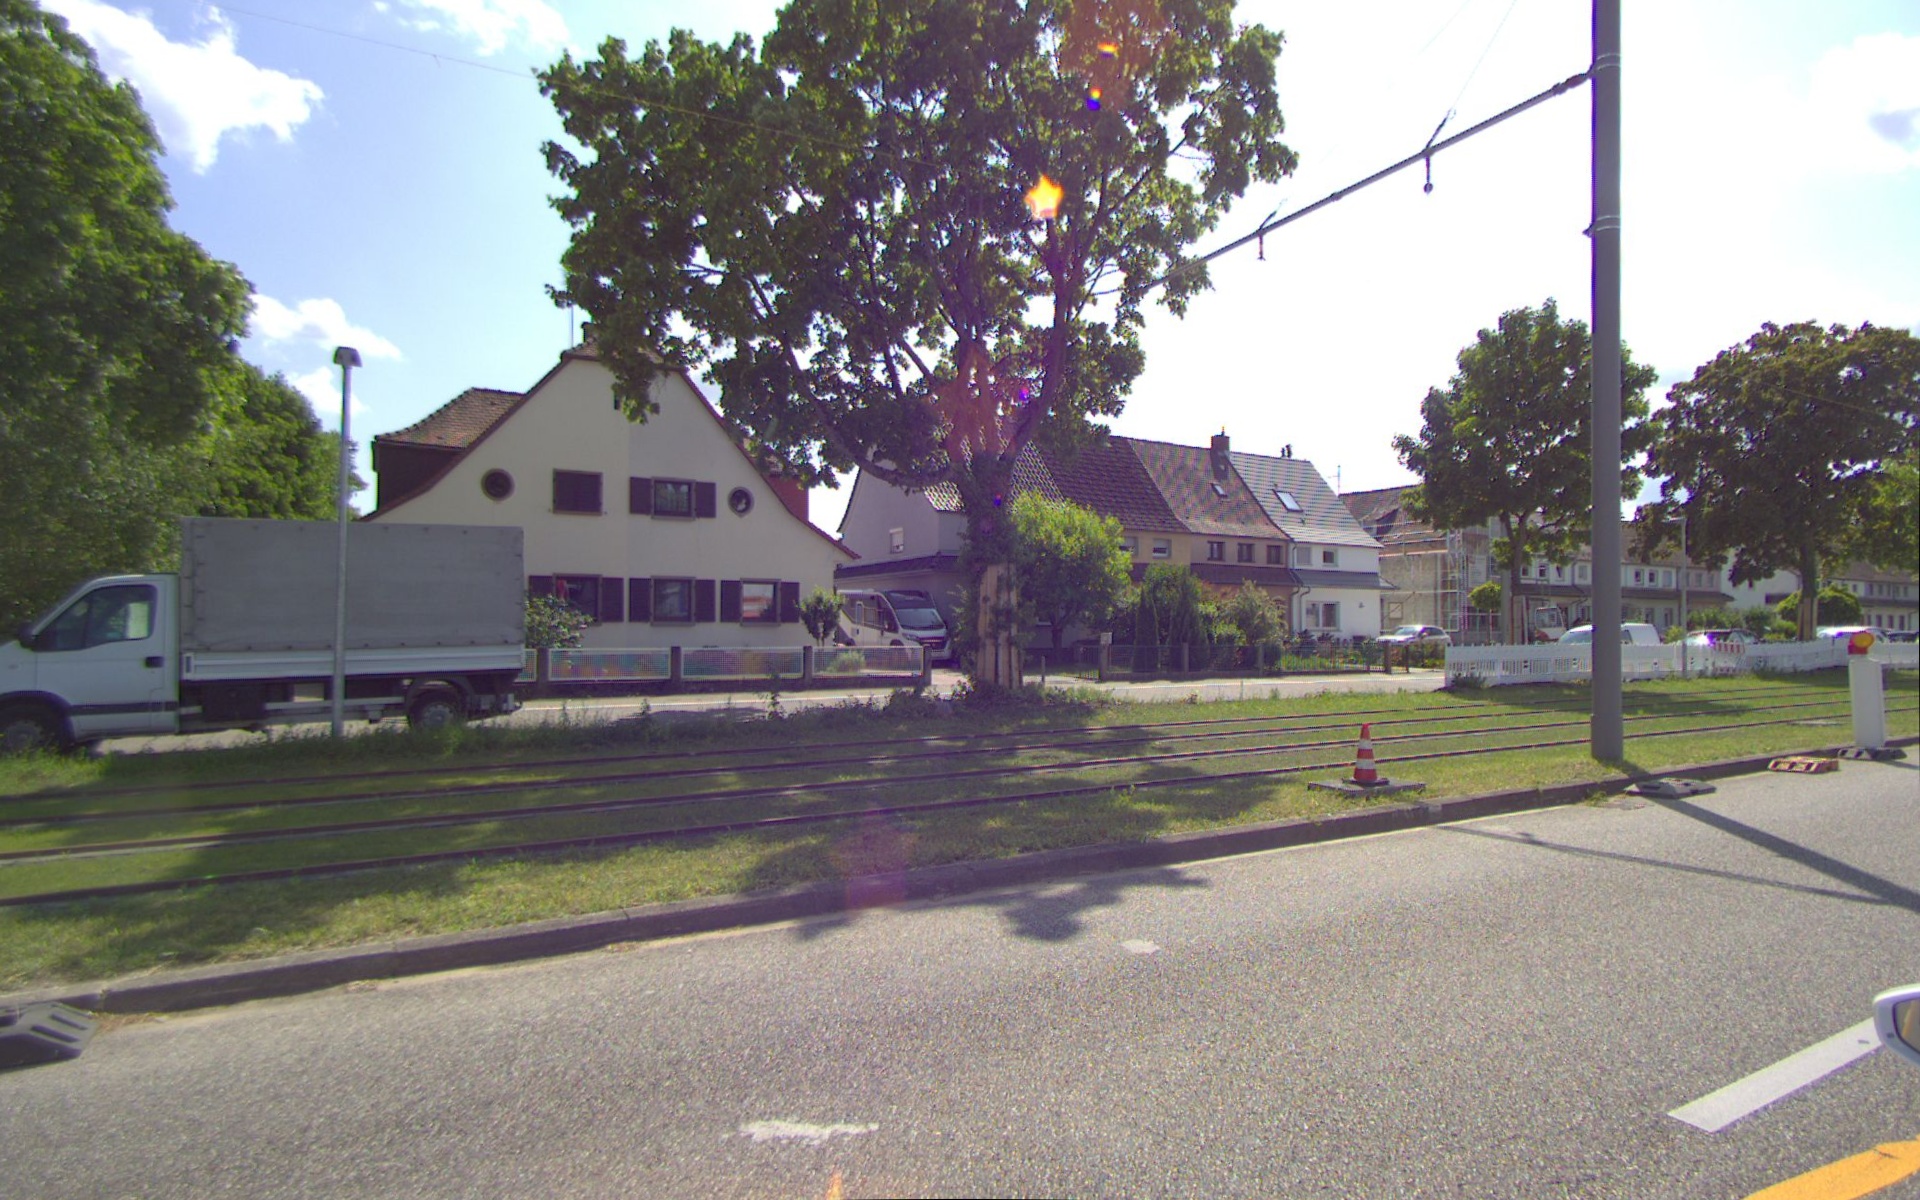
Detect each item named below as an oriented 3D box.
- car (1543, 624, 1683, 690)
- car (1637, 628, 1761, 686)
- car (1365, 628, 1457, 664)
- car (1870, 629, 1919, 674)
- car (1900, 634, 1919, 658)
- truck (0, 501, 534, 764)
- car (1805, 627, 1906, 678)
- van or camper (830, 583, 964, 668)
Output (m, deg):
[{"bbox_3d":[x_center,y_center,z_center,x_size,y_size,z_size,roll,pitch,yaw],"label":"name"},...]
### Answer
[{"bbox_3d":[19.560,1.648,30.045,4.312,1.845,1.768,1,-2,-30],"label":"car"},{"bbox_3d":[24.294,1.829,32.994,4.177,1.797,1.768,1,-2,-30],"label":"car"},{"bbox_3d":[19.993,1.995,44.488,3.952,1.539,1.768,1,-2,-30],"label":"car"},{"bbox_3d":[40.649,2.168,42.690,4.079,1.829,1.768,1,-2,-30],"label":"car"},{"bbox_3d":[70.033,3.307,72.742,4.079,1.745,1.768,1,-2,-30],"label":"car"},{"bbox_3d":[-8.830,0.408,12.962,5.906,2.817,2.255,1,-2,-31],"label":"truck"},{"bbox_3d":[35.332,2.033,39.614,4.079,1.892,1.768,1,-2,-30],"label":"car"},{"bbox_3d":[-2.420,0.943,36.612,2.269,2.801,6.051,1,-2,-32],"label":"van or camper"}]
